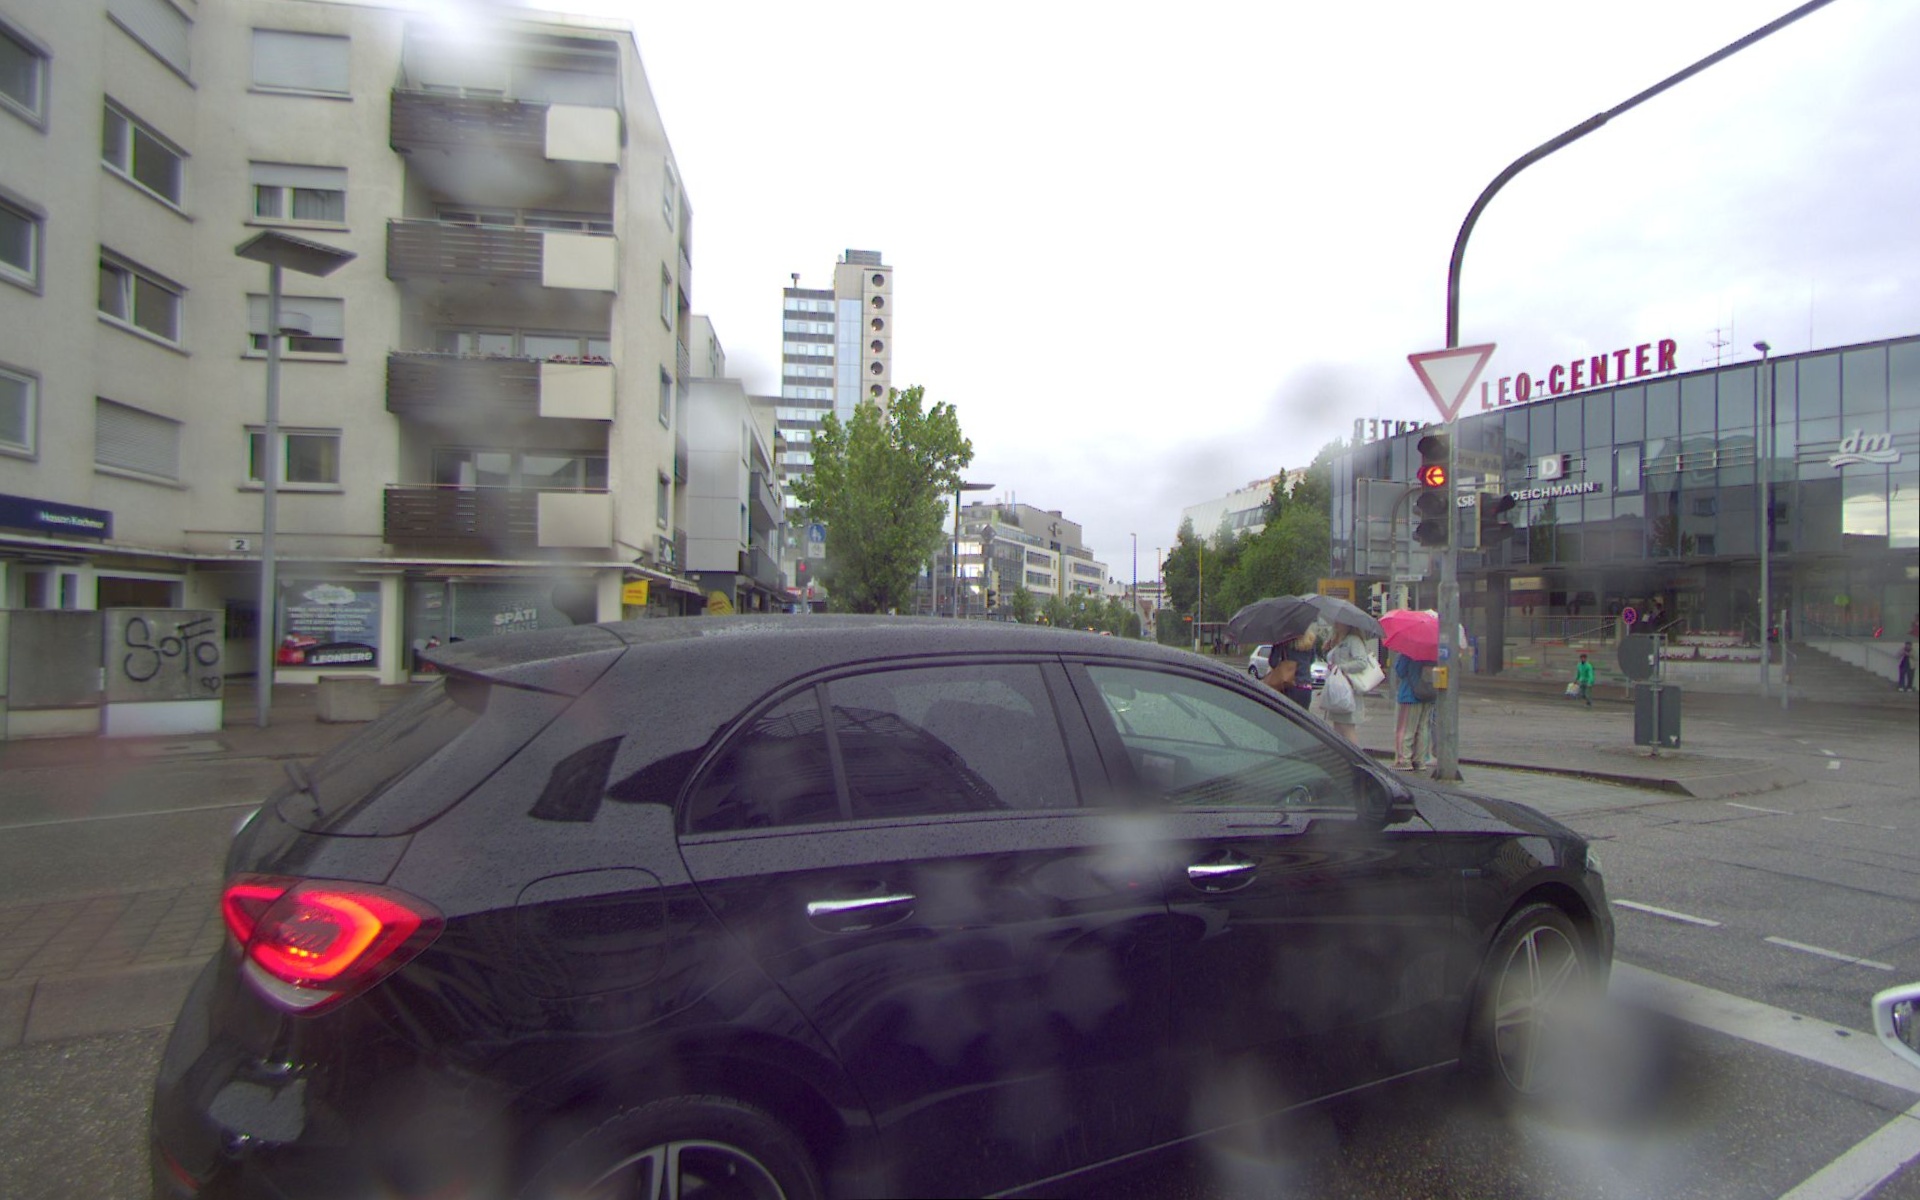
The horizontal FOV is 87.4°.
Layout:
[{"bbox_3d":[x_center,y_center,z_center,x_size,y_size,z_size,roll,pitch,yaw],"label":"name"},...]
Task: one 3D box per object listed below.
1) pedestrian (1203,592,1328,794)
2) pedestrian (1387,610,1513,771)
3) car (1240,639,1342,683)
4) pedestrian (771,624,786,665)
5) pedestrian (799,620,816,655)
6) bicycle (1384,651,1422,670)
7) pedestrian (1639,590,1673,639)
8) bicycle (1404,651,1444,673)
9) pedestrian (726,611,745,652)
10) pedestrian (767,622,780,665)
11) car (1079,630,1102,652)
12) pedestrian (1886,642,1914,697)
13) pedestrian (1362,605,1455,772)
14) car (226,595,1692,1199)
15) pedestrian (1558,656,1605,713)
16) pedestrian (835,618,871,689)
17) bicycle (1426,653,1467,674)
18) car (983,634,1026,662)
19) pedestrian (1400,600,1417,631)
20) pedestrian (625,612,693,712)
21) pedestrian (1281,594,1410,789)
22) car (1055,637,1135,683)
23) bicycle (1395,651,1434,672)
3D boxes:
[{"bbox_3d":[2.863,0.830,9.375,0.937,1.759,0.835,0,-2,30],"label":"pedestrian"},{"bbox_3d":[5.494,0.978,11.279,0.906,1.699,0.931,2,-2,-30],"label":"pedestrian"},{"bbox_3d":[12.272,2.257,37.499,1.717,1.460,3.980,2,-1,-15],"label":"car"},{"bbox_3d":[-8.161,1.985,45.164,0.557,1.817,0.491,1,-2,-4],"label":"pedestrian"},{"bbox_3d":[-8.008,1.955,52.688,0.859,1.835,0.923,1,-1,-10],"label":"pedestrian"},{"bbox_3d":[23.624,3.215,53.542,1.821,0.964,0.535,-1,0,-8],"label":"bicycle"},{"bbox_3d":[30.121,0.620,43.481,0.940,2.040,0.827,2,0,-26],"label":"pedestrian"},{"bbox_3d":[24.086,3.222,52.145,1.822,1.056,0.646,-1,-1,-12],"label":"bicycle"},{"bbox_3d":[-11.616,1.632,52.031,0.859,2.040,0.923,1,-1,-10],"label":"pedestrian"},{"bbox_3d":[-7.608,1.762,40.967,0.441,1.746,0.499,1,-2,-12],"label":"pedestrian"},{"bbox_3d":[12.487,3.899,96.199,2.008,1.921,4.141,1,-1,6],"label":"car"},{"bbox_3d":[34.380,2.533,36.737,0.589,1.933,0.651,2,-1,-37],"label":"pedestrian"},{"bbox_3d":[4.812,0.929,10.819,0.790,1.707,0.674,1,-2,14],"label":"pedestrian"},{"bbox_3d":[0.348,0.776,3.074,4.048,1.501,1.654,1,1,-32],"label":"car"},{"bbox_3d":[18.641,2.528,30.145,0.794,1.644,0.951,1,-2,-7],"label":"pedestrian"},{"bbox_3d":[-2.601,1.299,24.429,0.799,1.677,0.714,1,-2,-3],"label":"pedestrian"},{"bbox_3d":[24.486,3.184,50.522,1.822,1.036,0.631,0,-2,-12],"label":"bicycle"},{"bbox_3d":[2.263,2.471,52.153,1.414,1.314,3.770,2,-1,-11],"label":"car"},{"bbox_3d":[25.546,0.878,57.215,0.642,1.736,0.599,2,0,-6],"label":"pedestrian"},{"bbox_3d":[-4.994,1.017,16.661,0.904,1.606,0.651,2,-2,-33],"label":"pedestrian"},{"bbox_3d":[3.721,0.856,9.786,0.843,1.767,1.139,1,-2,3],"label":"pedestrian"},{"bbox_3d":[4.705,2.070,35.688,2.082,1.432,5.147,2,-2,0],"label":"car"},{"bbox_3d":[23.933,3.226,52.888,1.822,1.047,0.628,-1,-1,-12],"label":"bicycle"}]
